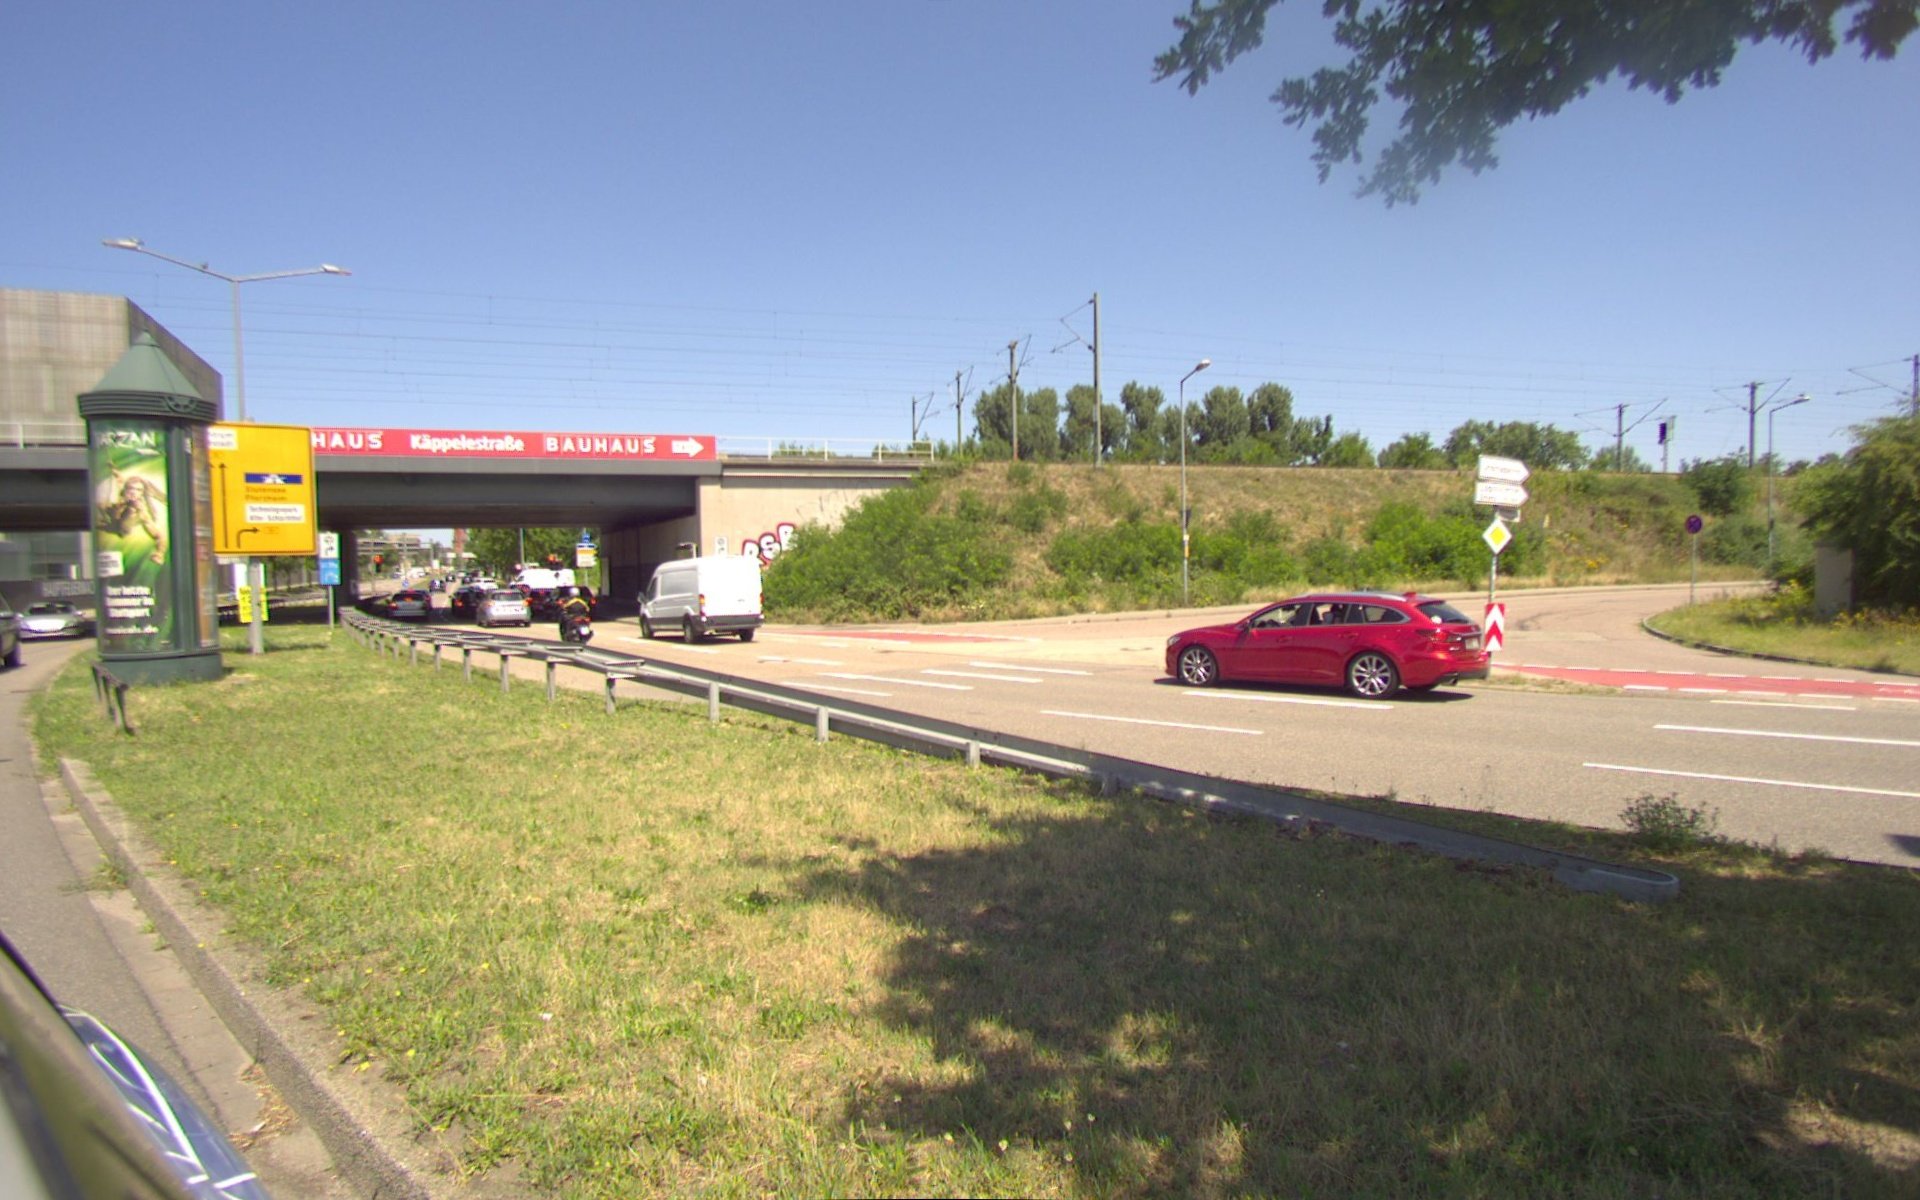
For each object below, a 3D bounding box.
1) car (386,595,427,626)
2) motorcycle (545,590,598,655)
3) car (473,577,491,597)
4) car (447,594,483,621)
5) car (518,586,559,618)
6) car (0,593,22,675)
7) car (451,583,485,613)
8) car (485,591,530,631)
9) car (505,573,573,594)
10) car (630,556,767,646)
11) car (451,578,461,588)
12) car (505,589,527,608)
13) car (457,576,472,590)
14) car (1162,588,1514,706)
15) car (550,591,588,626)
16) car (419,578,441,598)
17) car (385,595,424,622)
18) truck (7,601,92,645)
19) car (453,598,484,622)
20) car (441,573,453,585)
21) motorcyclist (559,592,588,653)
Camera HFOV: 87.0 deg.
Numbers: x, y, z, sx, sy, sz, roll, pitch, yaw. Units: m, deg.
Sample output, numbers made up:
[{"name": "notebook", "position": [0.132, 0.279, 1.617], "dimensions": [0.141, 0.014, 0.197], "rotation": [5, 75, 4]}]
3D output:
[{"name": "car", "position": [-26.268, 0.474, 48.101], "dimensions": [1.611, 1.413, 4.235], "rotation": [0, 0, -27]}, {"name": "motorcycle", "position": [-10.701, 0.591, 27.829], "dimensions": [0.590, 1.691, 2.430], "rotation": [-1, 1, -39]}, {"name": "car", "position": [-51.293, -1.386, 108.606], "dimensions": [1.678, 2.029, 4.013], "rotation": [-1, 1, -26]}, {"name": "car", "position": [-29.434, 0.411, 60.284], "dimensions": [1.593, 1.487, 3.444], "rotation": [-1, 1, -21]}, {"name": "car", "position": [-23.359, 0.091, 55.991], "dimensions": [1.747, 1.680, 4.028], "rotation": [-1, 1, -27]}, {"name": "car", "position": [-21.037, 0.729, 20.945], "dimensions": [1.816, 1.708, 3.709], "rotation": [-1, 1, -34]}, {"name": "car", "position": [-32.124, -0.172, 66.197], "dimensions": [1.875, 1.874, 4.013], "rotation": [-1, 1, -25]}, {"name": "car", "position": [-18.749, 0.438, 41.984], "dimensions": [1.611, 1.579, 4.086], "rotation": [0, 0, -23]}, {"name": "car", "position": [-42.788, -1.675, 102.942], "dimensions": [6.310, 2.118, 1.995], "rotation": [-1, 1, 9]}, {"name": "car", "position": [-8.214, 0.107, 31.347], "dimensions": [2.066, 2.519, 5.822], "rotation": [-1, -1, -36]}, {"name": "car", "position": [-112.138, -3.767, 225.136], "dimensions": [1.965, 2.029, 4.013], "rotation": [-1, 1, -27]}, {"name": "car", "position": [-29.523, -0.124, 67.356], "dimensions": [1.166, 1.257, 2.701], "rotation": [-1, 1, -21]}, {"name": "car", "position": [-74.816, -2.531, 152.716], "dimensions": [1.809, 2.029, 4.013], "rotation": [-1, 1, -28]}, {"name": "car", "position": [5.393, 0.578, 14.901], "dimensions": [1.809, 1.448, 4.529], "rotation": [-2, 1, -44]}, {"name": "car", "position": [-18.308, 0.373, 47.311], "dimensions": [1.493, 1.553, 3.692], "rotation": [-1, 1, -24]}, {"name": "car", "position": [-58.094, -1.319, 111.018], "dimensions": [1.965, 2.029, 4.013], "rotation": [-1, 1, -26]}, {"name": "car", "position": [-29.222, 0.437, 53.313], "dimensions": [1.389, 1.329, 3.272], "rotation": [-1, 1, -22]}, {"name": "truck", "position": [-34.392, 0.841, 38.339], "dimensions": [1.703, 1.513, 4.012], "rotation": [-1, 1, -32]}, {"name": "car", "position": [-26.635, 0.522, 54.888], "dimensions": [1.250, 1.194, 2.787], "rotation": [-1, 1, -21]}, {"name": "car", "position": [-88.534, -3.666, 174.720], "dimensions": [1.809, 2.029, 4.013], "rotation": [-1, 1, -28]}, {"name": "motorcyclist", "position": [-10.586, 0.594, 27.703], "dimensions": [0.579, 1.638, 0.564], "rotation": [-1, 1, -39]}]
